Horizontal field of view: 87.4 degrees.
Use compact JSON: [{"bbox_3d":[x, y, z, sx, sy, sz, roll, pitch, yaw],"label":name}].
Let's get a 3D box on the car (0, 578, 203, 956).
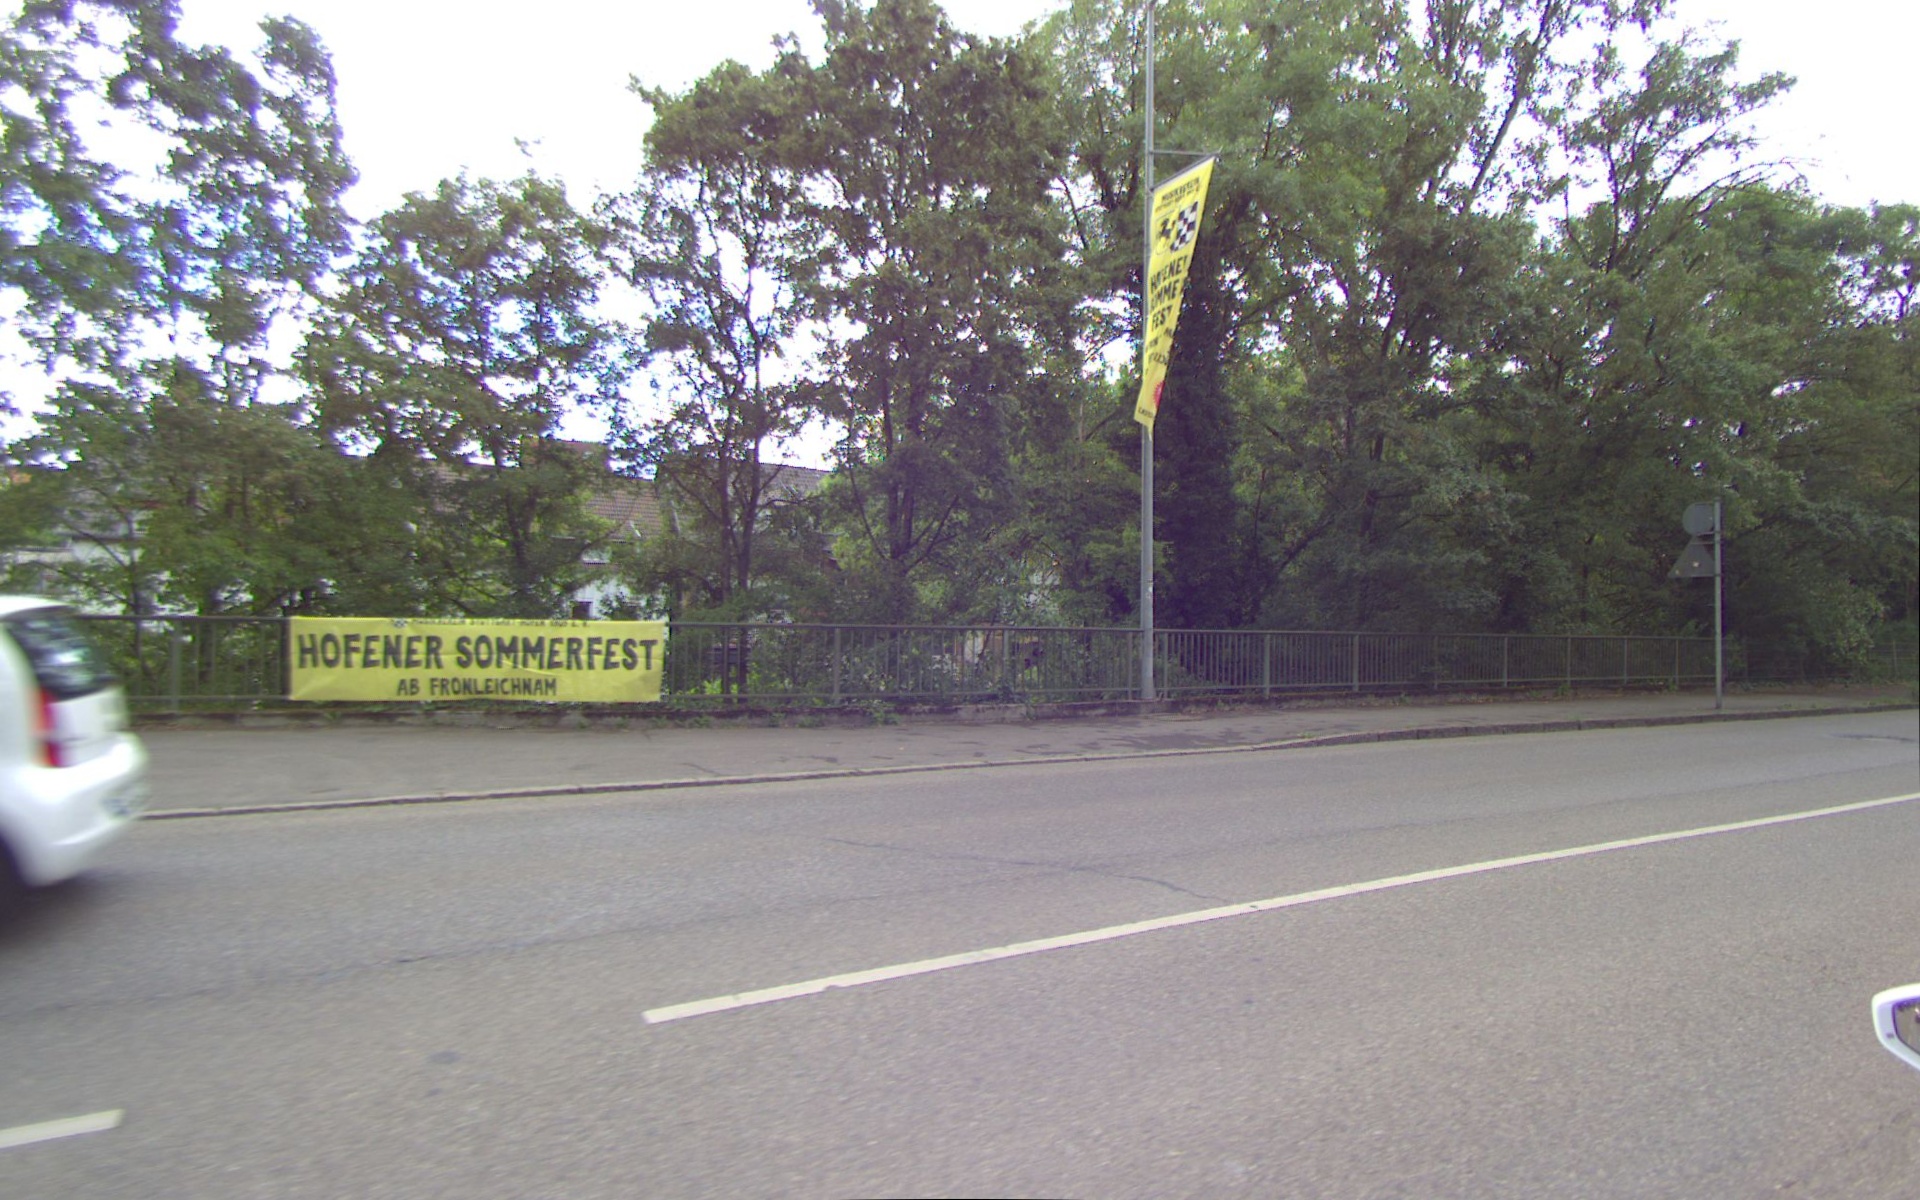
[{"bbox_3d":[-5.381,0.630,3.923,3.652,1.485,1.573,2,-1,-30],"label":"car"}]
